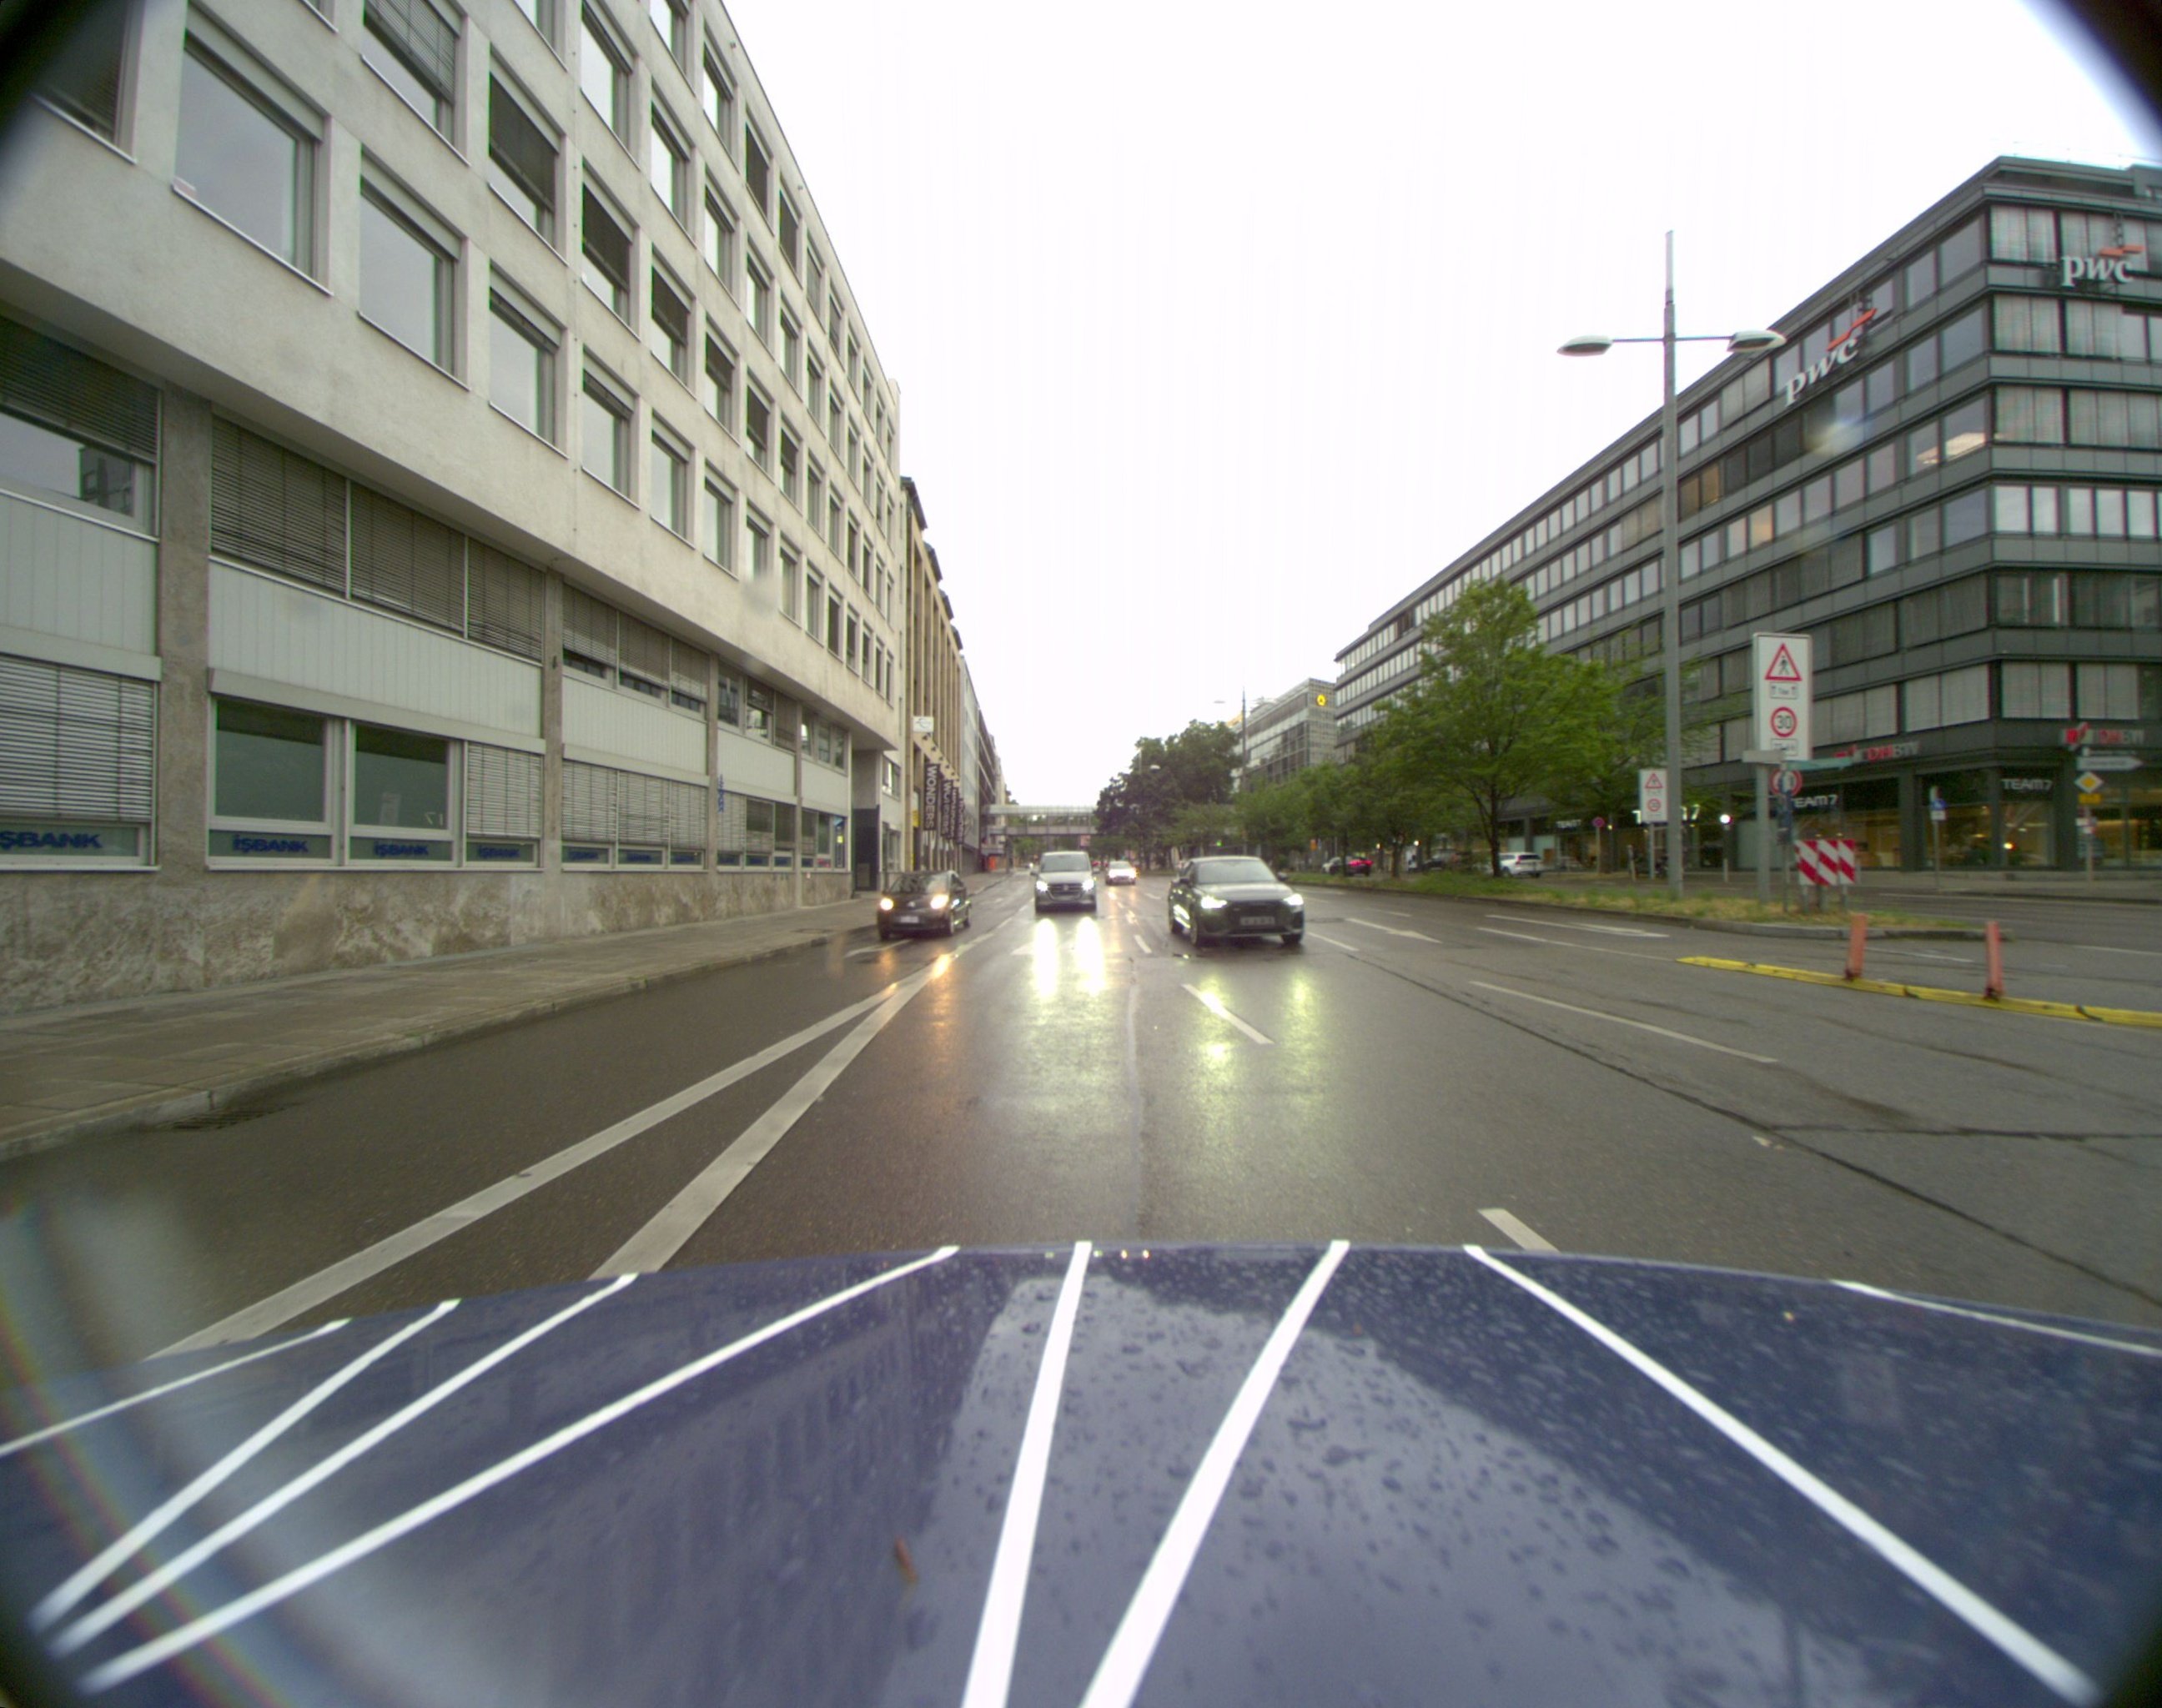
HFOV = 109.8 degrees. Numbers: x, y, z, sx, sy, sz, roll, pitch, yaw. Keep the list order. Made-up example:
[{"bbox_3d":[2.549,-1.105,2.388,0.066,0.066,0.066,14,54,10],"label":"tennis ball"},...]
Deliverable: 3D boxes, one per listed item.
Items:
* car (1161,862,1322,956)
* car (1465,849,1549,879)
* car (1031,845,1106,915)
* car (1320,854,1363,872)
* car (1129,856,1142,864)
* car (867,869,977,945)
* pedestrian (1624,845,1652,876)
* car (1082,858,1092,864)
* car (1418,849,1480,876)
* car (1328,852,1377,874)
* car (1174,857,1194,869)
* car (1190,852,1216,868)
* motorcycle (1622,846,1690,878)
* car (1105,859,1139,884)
[{"bbox_3d":[2.770,0.894,14.157,1.941,1.426,4.287,-1,0,-2],"label":"car"},{"bbox_3d":[24.246,0.539,43.494,1.814,1.476,4.771,-4,0,-3],"label":"car"},{"bbox_3d":[-0.512,0.775,25.067,2.163,2.014,5.040,-1,0,-3],"label":"car"},{"bbox_3d":[22.645,0.758,66.119,1.814,1.436,4.307,-2,0,-6],"label":"car"},{"bbox_3d":[10.630,1.175,147.775,1.814,1.467,4.299,-1,0,-6],"label":"car"},{"bbox_3d":[-3.552,1.143,17.613,1.666,1.464,3.484,-3,0,1],"label":"car"},{"bbox_3d":[30.119,0.335,41.091,0.786,1.628,0.965,-1,0,-4],"label":"pedestrian"},{"bbox_3d":[1.364,1.650,181.331,1.733,1.303,4.075,-2,0,-7],"label":"car"},{"bbox_3d":[23.941,0.541,49.630,1.813,1.651,4.309,-2,0,-2],"label":"car"},{"bbox_3d":[20.085,0.648,56.362,1.999,1.535,4.482,-1,0,-1],"label":"car"},{"bbox_3d":[13.011,1.150,96.330,1.687,1.423,4.081,-1,0,-5],"label":"car"},{"bbox_3d":[14.097,0.712,88.071,1.742,1.717,4.491,-2,0,-6],"label":"car"},{"bbox_3d":[27.161,0.384,35.932,0.861,1.386,2.364,-5,2,-30],"label":"motorcycle"},{"bbox_3d":[2.539,1.079,48.063,1.853,1.434,3.870,-1,0,-1],"label":"car"}]
